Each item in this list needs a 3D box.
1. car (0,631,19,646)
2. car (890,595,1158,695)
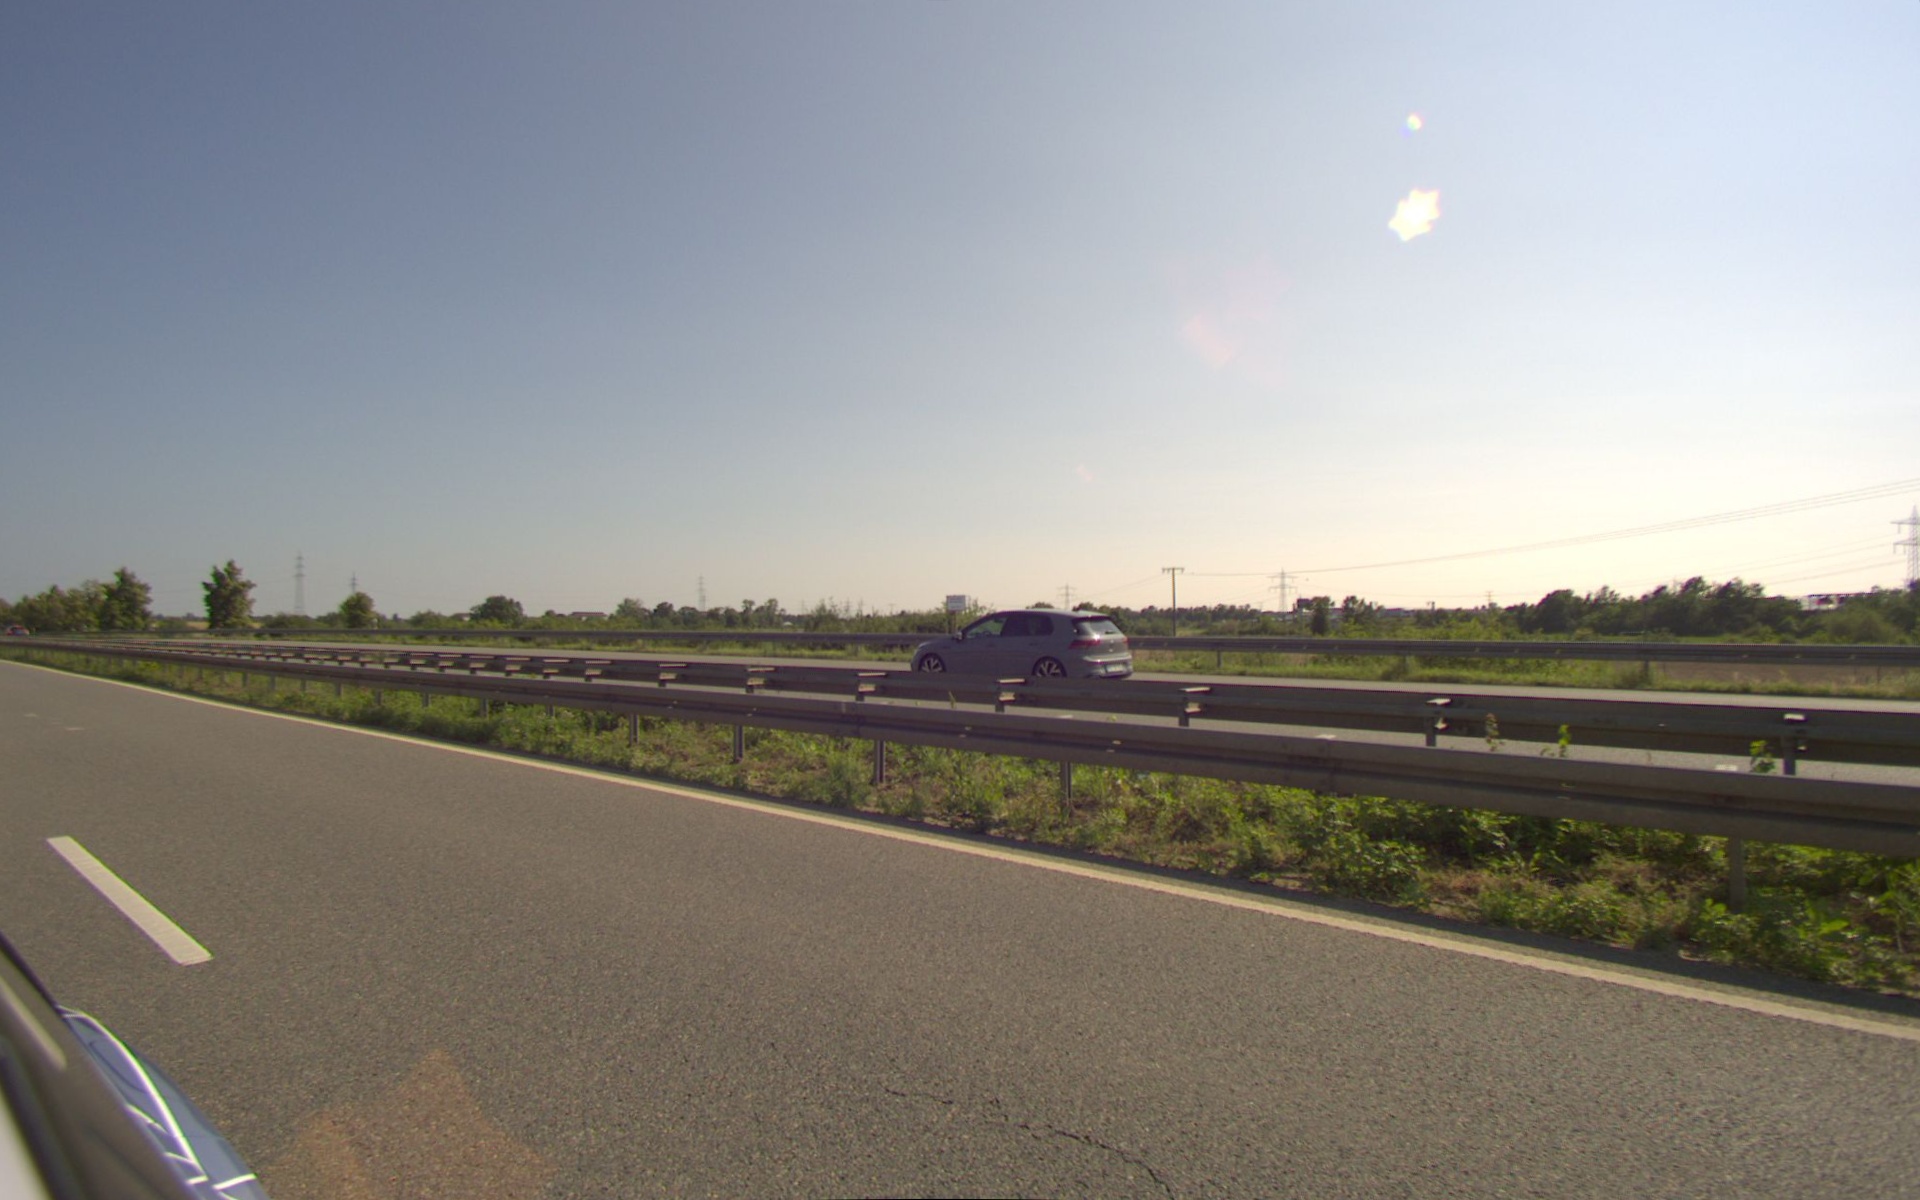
[{"bbox_3d":[-99.080,4.033,104.753,4.932,1.445,1.849,-2,1,41],"label":"car"},{"bbox_3d":[1.025,0.754,17.923,4.617,1.496,1.683,-2,1,41],"label":"car"}]
